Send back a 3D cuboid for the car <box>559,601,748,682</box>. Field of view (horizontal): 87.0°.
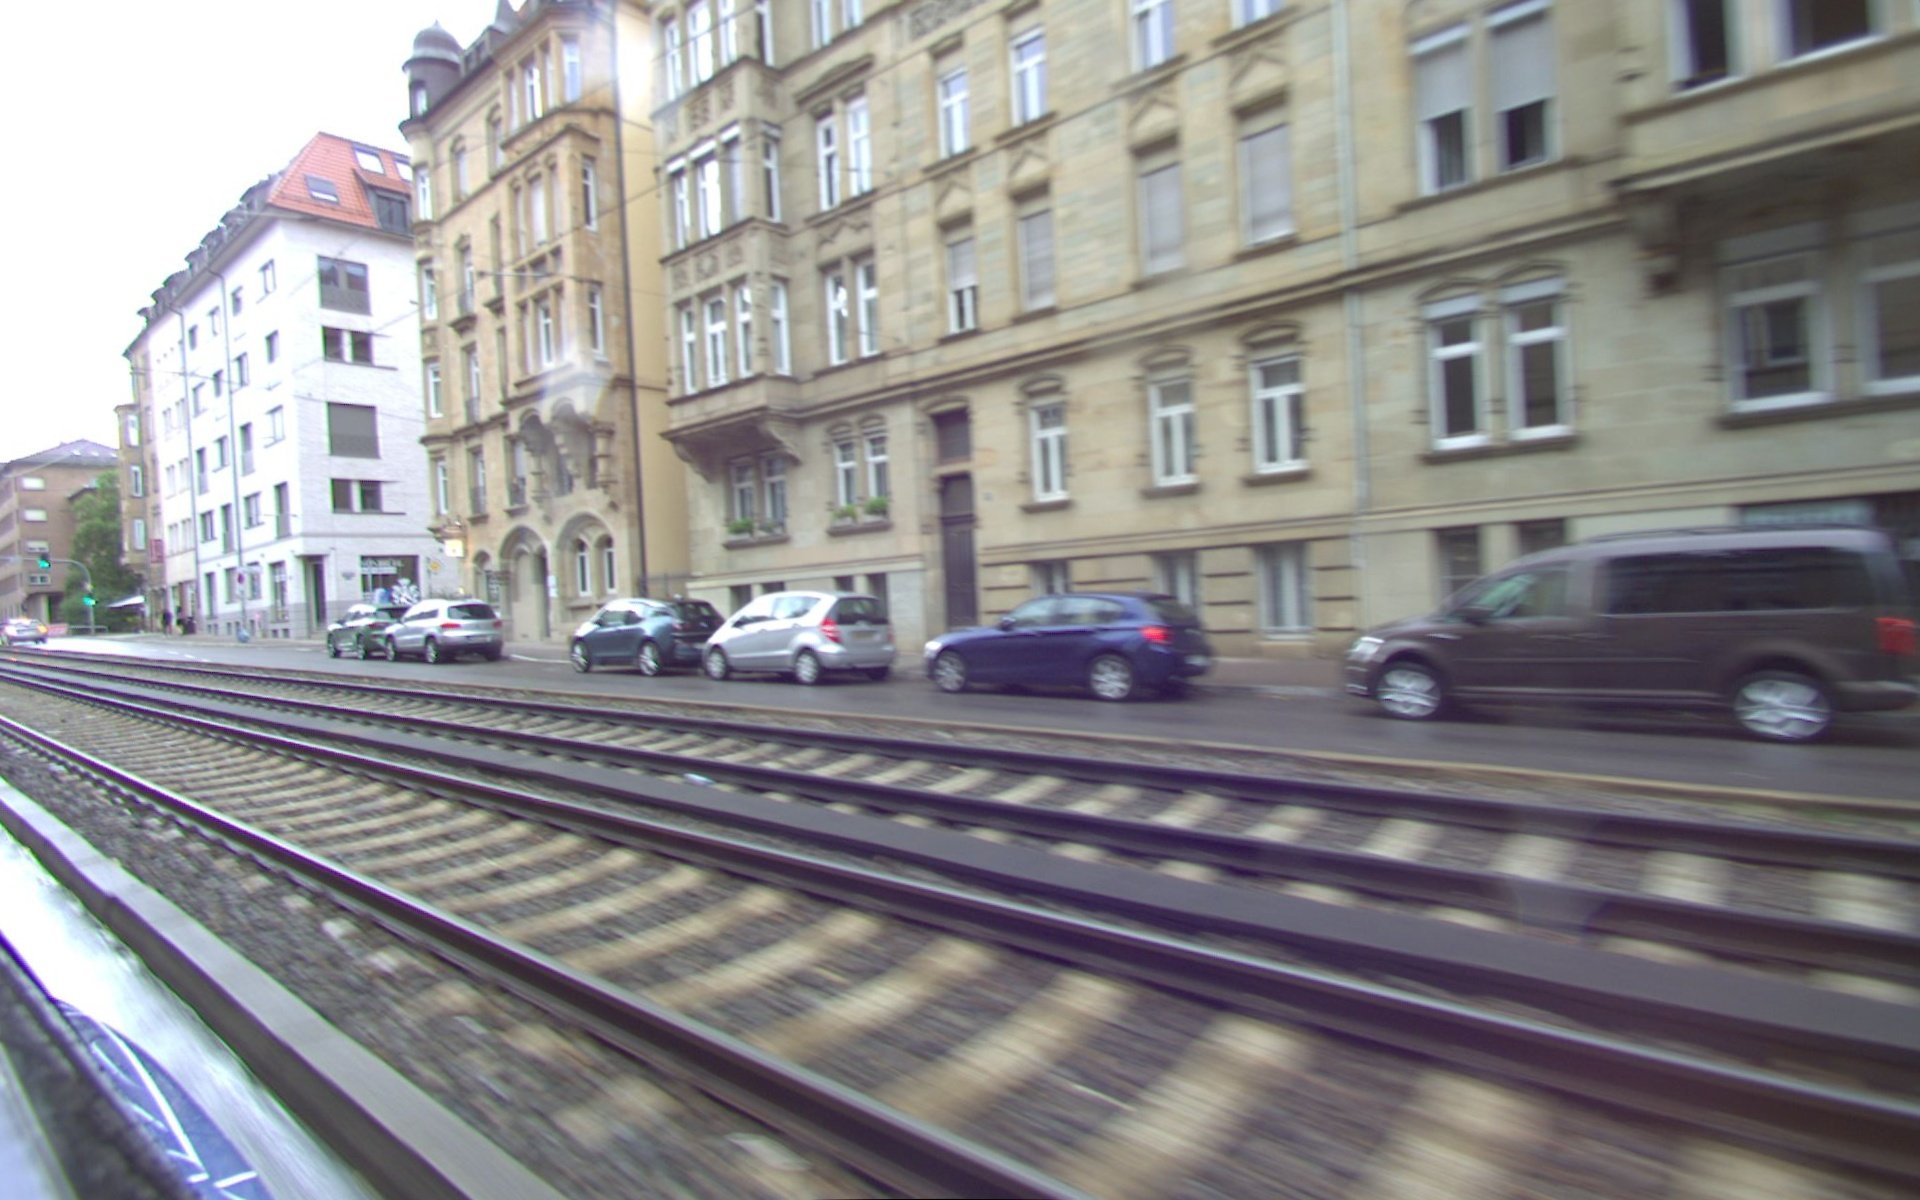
[{"bbox_3d":[-6.493,0.822,21.222,4.167,1.519,1.851,-2,-1,41],"label":"car"}]

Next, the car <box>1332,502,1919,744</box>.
[{"bbox_3d":[6.360,0.232,9.842,4.815,1.861,1.782,-2,-2,41],"label":"car"}]

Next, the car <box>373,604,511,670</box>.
[{"bbox_3d":[-14.359,1.010,27.974,4.311,1.665,1.840,-2,-1,40],"label":"car"}]

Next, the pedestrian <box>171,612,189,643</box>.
[{"bbox_3d":[-44.648,1.556,57.912,0.658,1.731,0.595,-2,2,43],"label":"pedestrian"}]

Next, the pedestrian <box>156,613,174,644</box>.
[{"bbox_3d":[-45.145,1.609,57.457,0.746,1.731,0.595,-2,2,44],"label":"pedestrian"}]

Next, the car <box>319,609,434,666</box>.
[{"bbox_3d":[-17.971,1.123,31.074,4.429,1.614,1.838,-2,-1,43],"label":"car"}]

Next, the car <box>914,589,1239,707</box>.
[{"bbox_3d":[1.514,0.626,14.134,4.266,1.409,1.744,-2,-1,40],"label":"car"}]

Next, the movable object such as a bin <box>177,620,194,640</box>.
[{"bbox_3d":[-45.419,1.777,59.341,0.563,1.088,0.623,-2,4,40],"label":"movable object such as a bin"}]

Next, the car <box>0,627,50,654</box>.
[{"bbox_3d":[-54.546,2.309,58.737,4.290,1.468,1.962,-2,-1,40],"label":"car"}]

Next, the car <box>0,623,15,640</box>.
[{"bbox_3d":[-81.991,2.670,86.403,3.781,1.398,1.686,-2,-1,43],"label":"car"}]

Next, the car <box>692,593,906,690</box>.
[{"bbox_3d":[-2.917,0.703,17.914,3.853,1.535,1.677,-2,-1,41],"label":"car"}]
